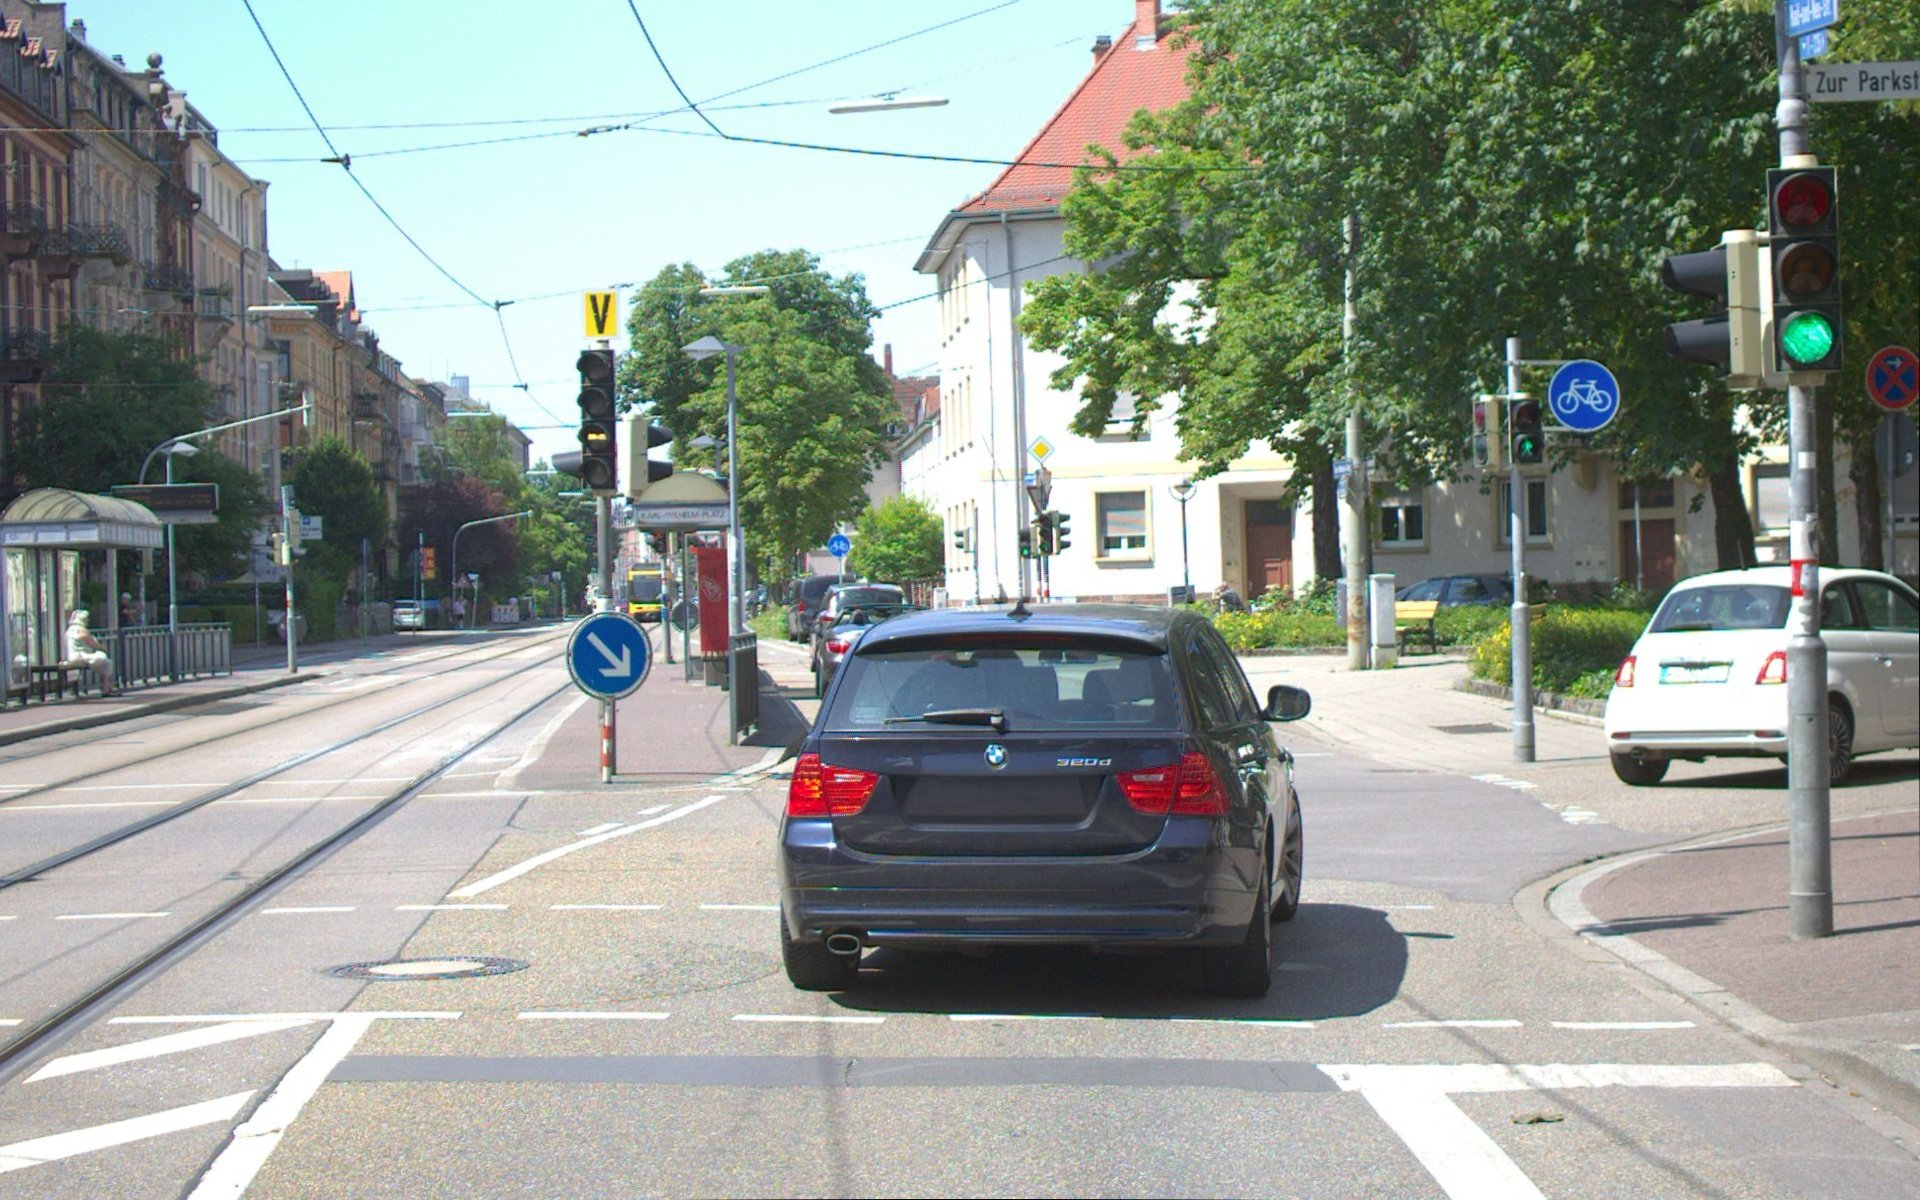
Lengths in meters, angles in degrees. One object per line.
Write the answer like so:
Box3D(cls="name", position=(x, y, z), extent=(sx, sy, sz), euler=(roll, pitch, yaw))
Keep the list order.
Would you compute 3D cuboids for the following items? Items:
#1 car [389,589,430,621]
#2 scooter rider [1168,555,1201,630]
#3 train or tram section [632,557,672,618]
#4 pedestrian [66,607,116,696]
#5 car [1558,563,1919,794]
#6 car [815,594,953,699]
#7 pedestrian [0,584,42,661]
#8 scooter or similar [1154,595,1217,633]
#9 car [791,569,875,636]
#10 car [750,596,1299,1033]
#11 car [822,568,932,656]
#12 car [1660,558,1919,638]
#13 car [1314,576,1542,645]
Box3D(cls="car", position=(-27.681, 0.281, 172.665), extent=(1.787, 1.580, 4.001), euler=(0, 0, -13))
Box3D(cls="scooter rider", position=(5.105, -0.177, 78.219), extent=(0.590, 1.681, 0.528), euler=(-1, 0, -9))
Box3D(cls="train or tram section", position=(-18.134, -0.734, 202.799), extent=(2.190, 3.470, 8.846), euler=(-2, 0, -4))
Box3D(cls="pedestrian", position=(-12.309, 0.725, 48.734), extent=(0.613, 1.238, 0.628), euler=(-1, 0, -10))
Box3D(cls="car", position=(6.025, 0.502, 24.505), extent=(1.689, 1.479, 3.675), euler=(-1, 1, 43))
Box3D(cls="car", position=(-1.059, 0.598, 46.217), extent=(1.691, 1.319, 3.821), euler=(-1, 0, -3))
Box3D(cls="pedestrian", position=(-22.227, 0.534, 81.246), extent=(0.640, 1.805, 0.739), euler=(-1, 0, 28))
Box3D(cls="scooter or similar", position=(5.128, 0.325, 78.213), extent=(1.311, 0.834, 0.527), euler=(-1, 0, -9))
Box3D(cls="car", position=(-3.675, 0.072, 99.149), extent=(1.993, 1.842, 4.001), euler=(-1, 0, -8))
Box3D(cls="car", position=(0.429, 0.704, 13.724), extent=(1.723, 1.404, 4.563), euler=(1, 0, 7))
Box3D(cls="car", position=(-1.534, 0.215, 62.243), extent=(1.691, 1.509, 3.822), euler=(-1, 0, -5))
Box3D(cls="car", position=(14.630, -0.019, 60.735), extent=(1.786, 1.324, 4.338), euler=(-2, 0, -36))
Box3D(cls="car", position=(8.990, 0.203, 66.093), extent=(3.994, 1.239, 1.621), euler=(-1, 0, 31))
